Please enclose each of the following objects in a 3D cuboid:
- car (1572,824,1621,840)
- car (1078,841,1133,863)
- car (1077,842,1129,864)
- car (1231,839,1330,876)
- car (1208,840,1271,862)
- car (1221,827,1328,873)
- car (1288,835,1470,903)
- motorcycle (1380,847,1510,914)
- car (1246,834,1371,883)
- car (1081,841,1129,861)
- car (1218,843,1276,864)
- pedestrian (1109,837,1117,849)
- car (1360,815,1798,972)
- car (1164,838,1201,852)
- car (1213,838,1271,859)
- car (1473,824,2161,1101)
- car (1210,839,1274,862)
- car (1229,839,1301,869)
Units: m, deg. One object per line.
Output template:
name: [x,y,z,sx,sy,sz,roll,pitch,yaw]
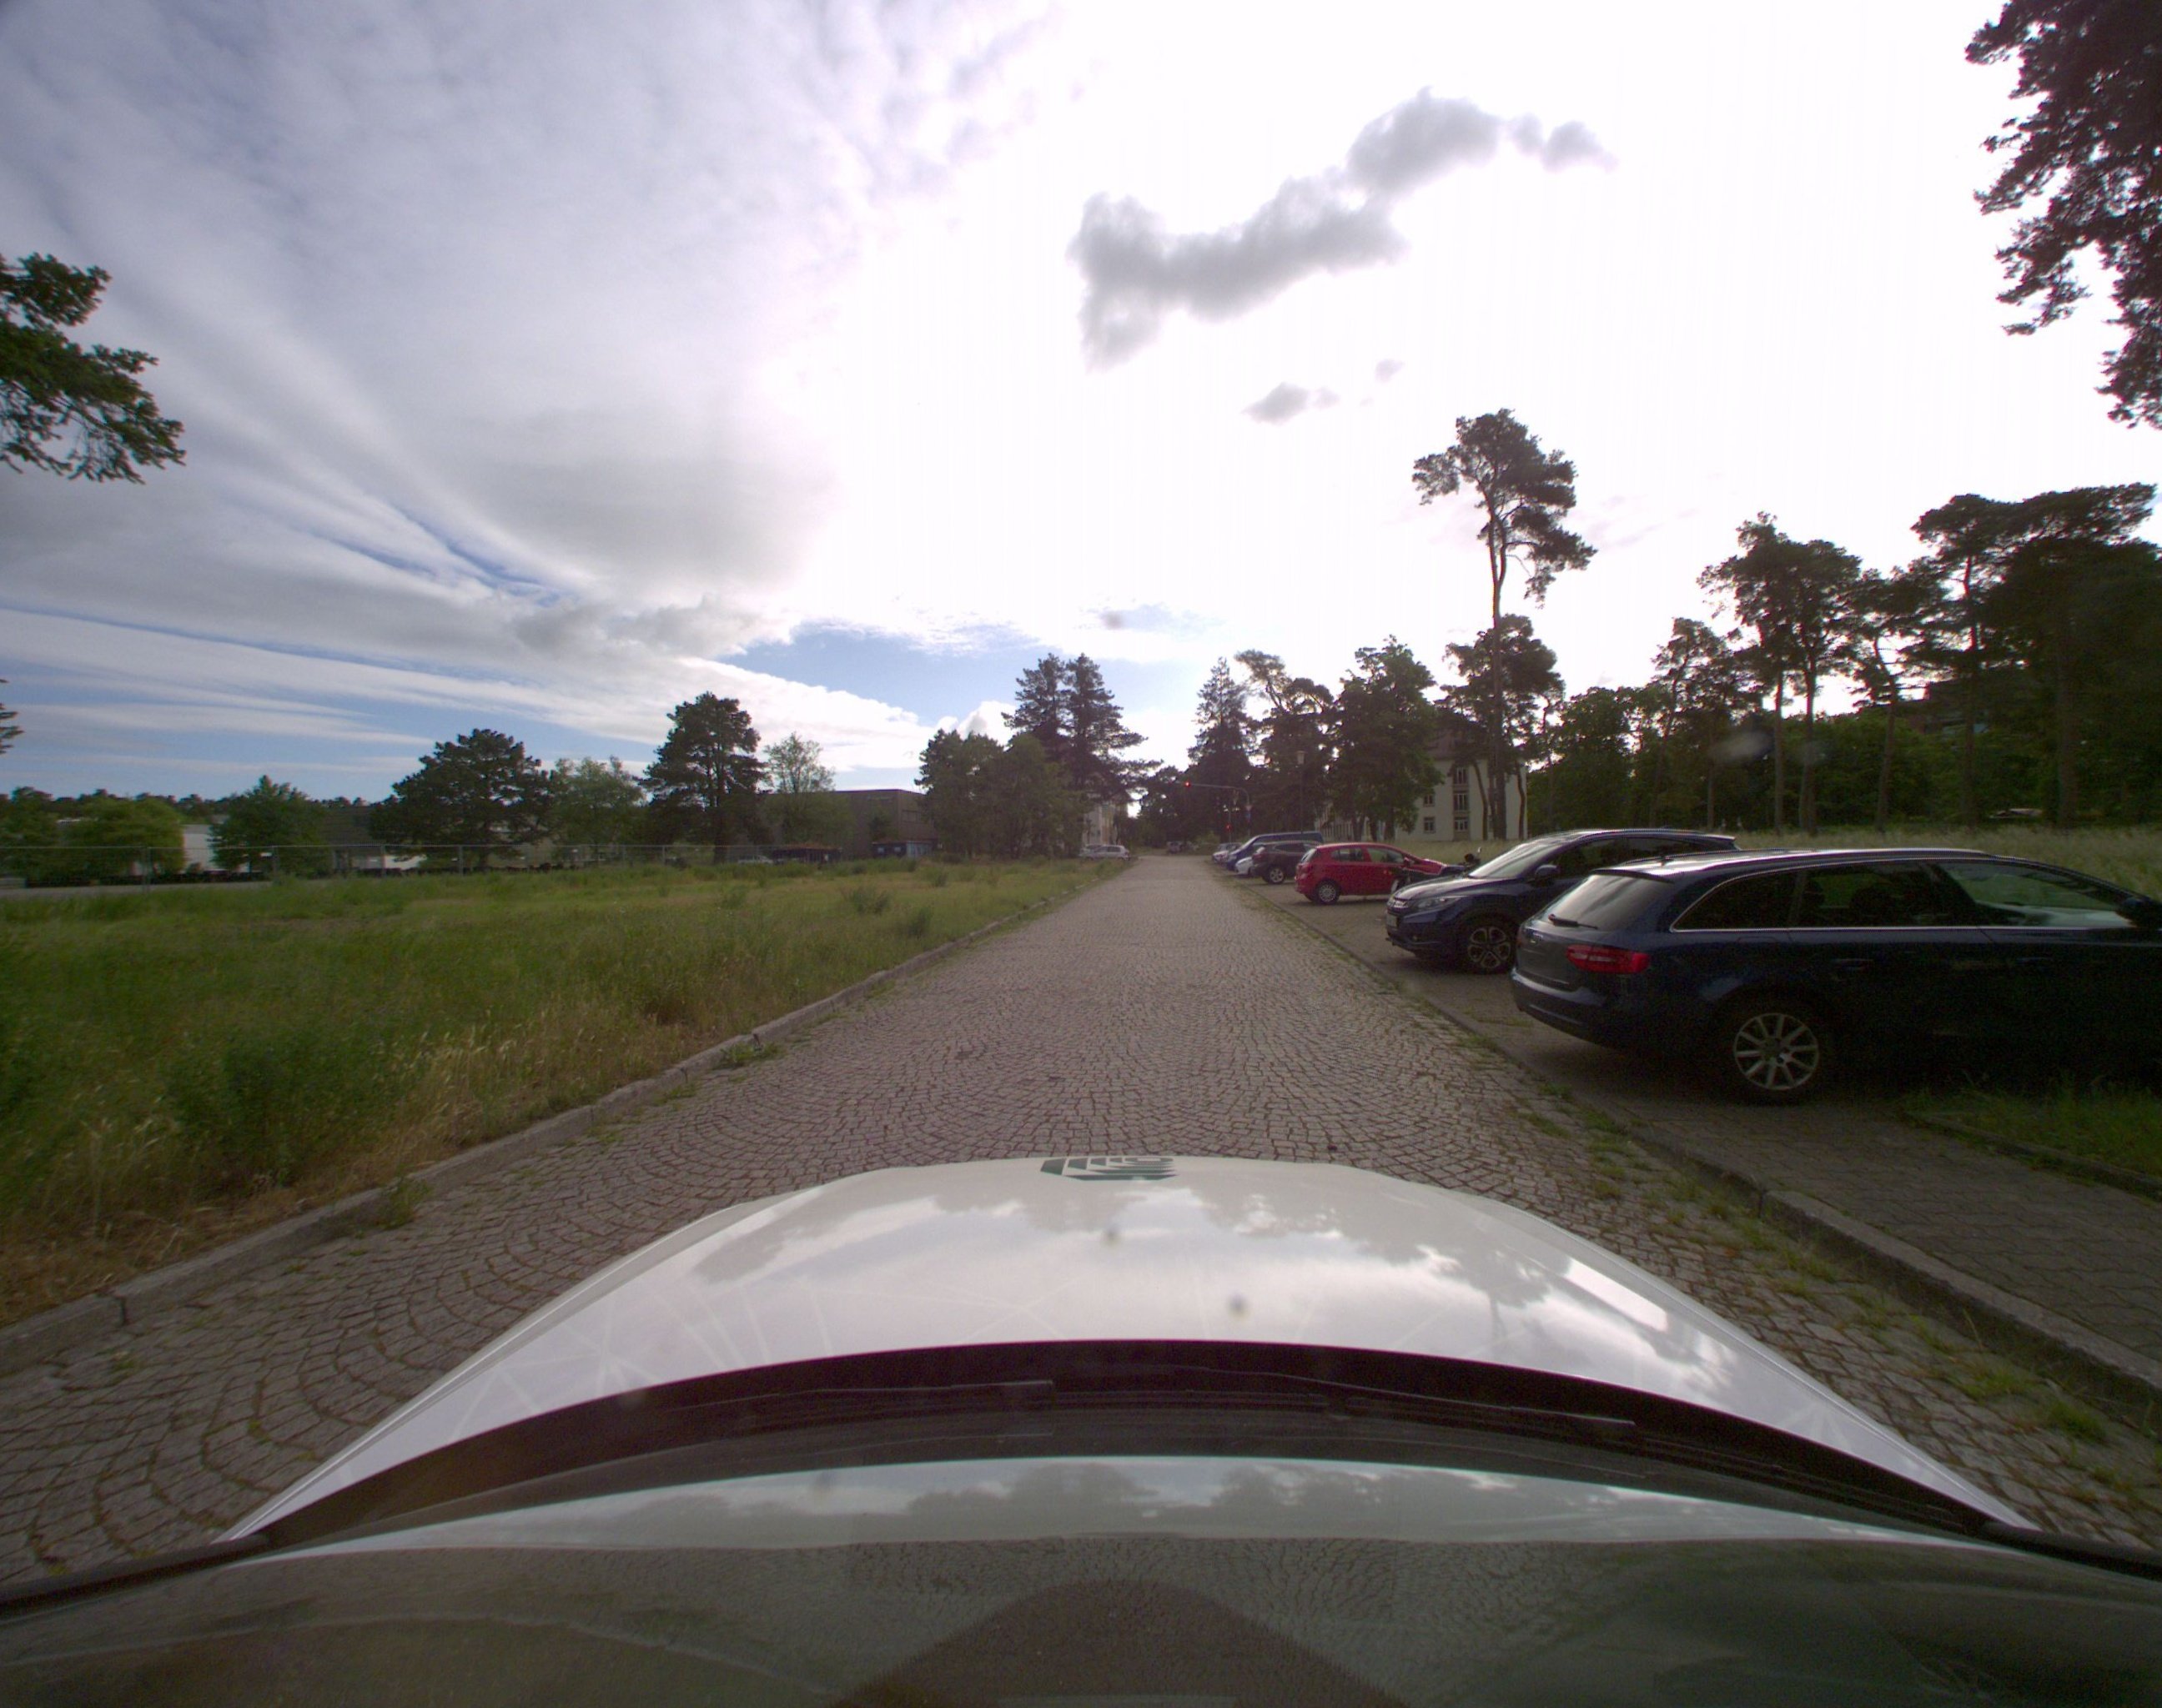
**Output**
car: [69.842,-2.971,110.420,5.272,2.019,2.110,0,0,7]
car: [1.955,-0.195,65.816,4.283,1.553,1.812,-2,1,0]
car: [1.857,-0.097,68.653,4.282,1.732,1.653,-2,1,1]
car: [8.995,0.143,36.925,4.080,1.478,1.723,-2,1,3]
car: [11.747,-0.246,60.532,4.221,1.479,1.707,-2,1,-4]
car: [9.304,-0.197,39.453,4.773,2.004,1.969,-2,1,4]
car: [7.323,0.348,20.316,3.905,1.496,1.787,-2,1,5]
motorcycle: [7.044,0.509,15.820,2.220,1.202,0.569,-2,1,4]
car: [8.459,0.151,30.577,4.184,1.595,1.956,-2,1,4]
car: [1.883,-0.227,63.207,3.704,1.480,1.675,1,1,3]
car: [10.776,-0.019,53.109,3.567,1.222,1.632,-2,1,7]
pedestrian: [5.057,-1.712,128.904,1.069,1.959,1.123,0,0,6]
car: [5.874,0.440,10.088,4.225,1.622,1.889,-2,1,5]
car: [16.204,-1.443,130.045,5.369,2.101,2.174,-2,1,-6]
car: [12.438,-0.435,63.029,4.120,1.463,1.634,-2,1,1]
car: [5.216,0.603,5.383,4.332,1.439,1.931,-2,1,8]
car: [11.406,-0.243,57.780,4.173,1.437,1.755,-2,1,-1]
car: [10.056,-0.031,44.724,3.634,1.478,1.769,-2,1,6]
